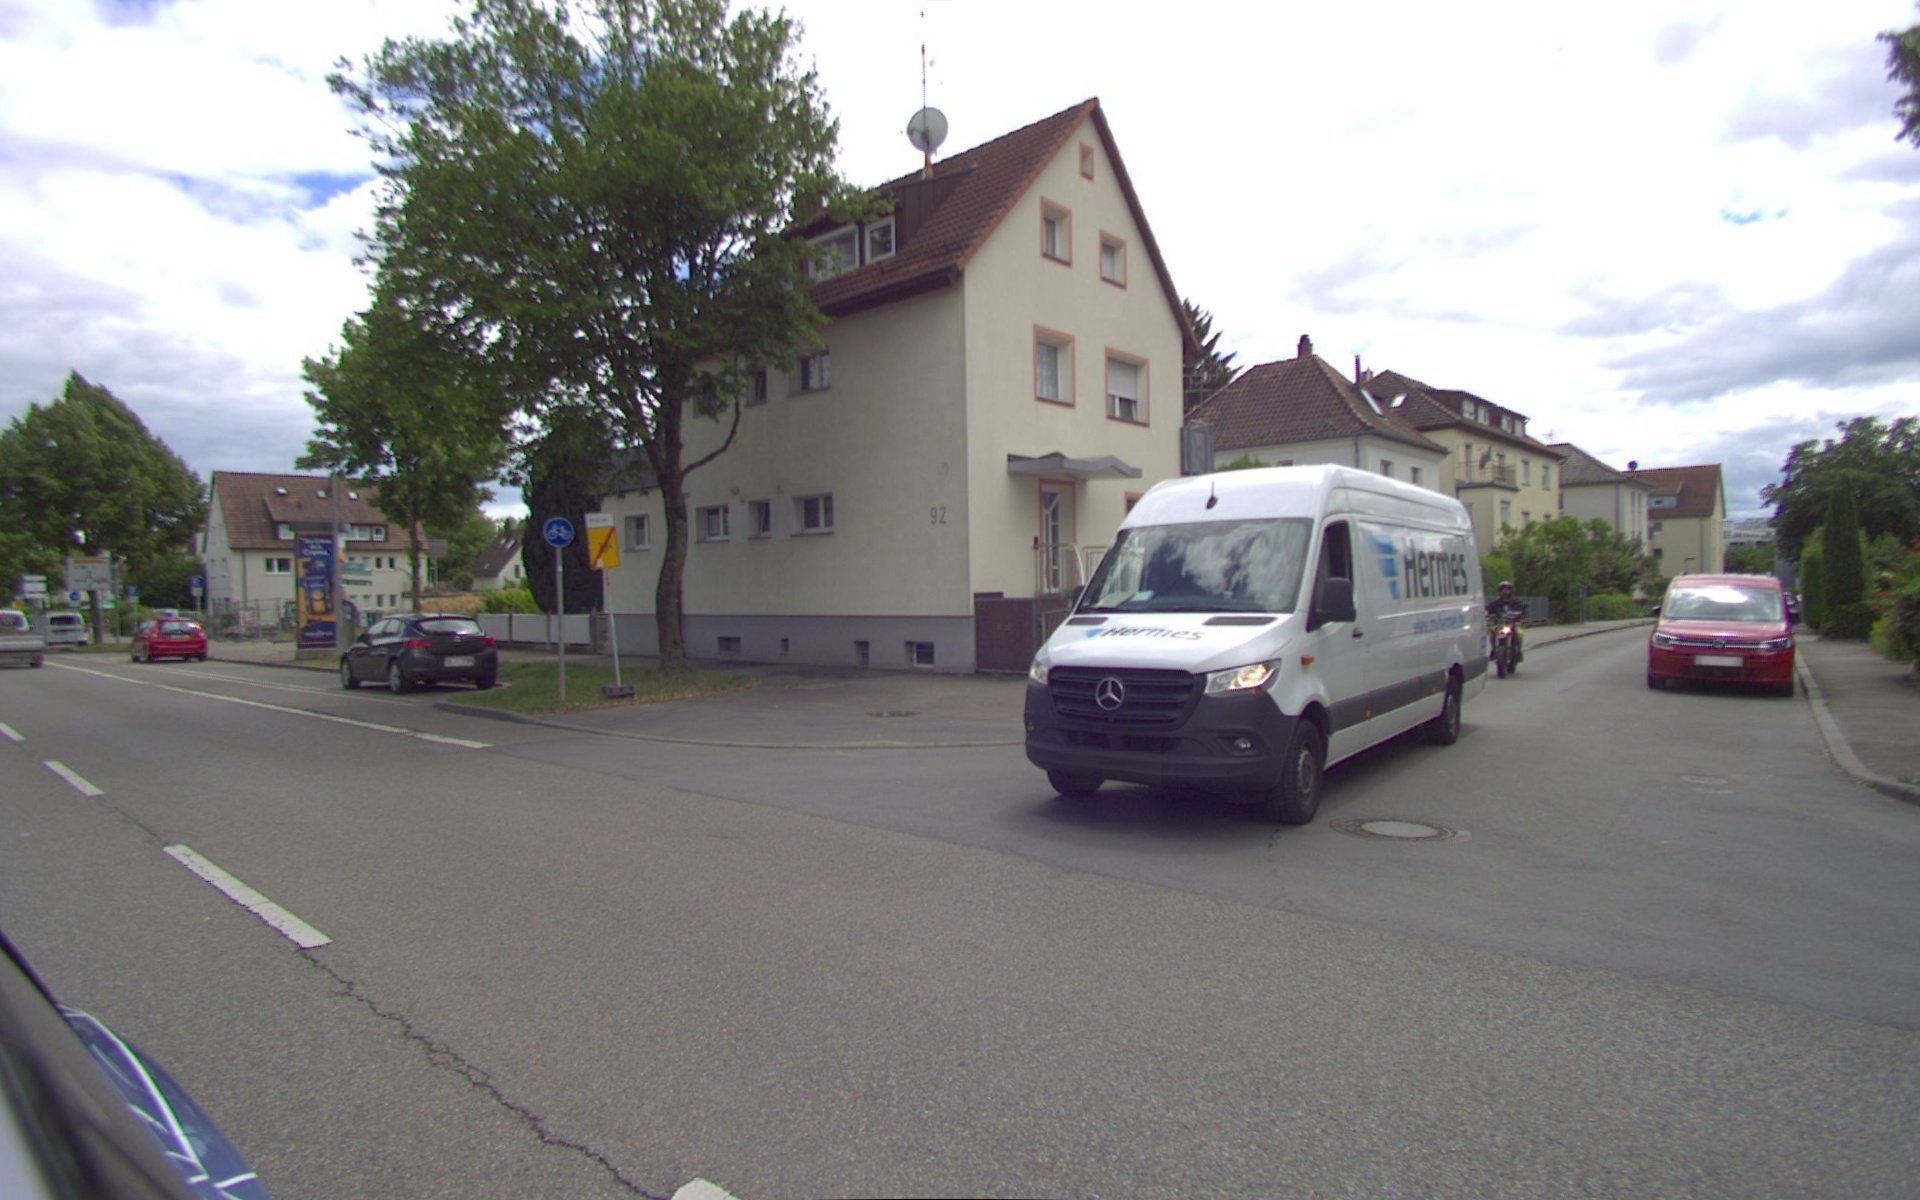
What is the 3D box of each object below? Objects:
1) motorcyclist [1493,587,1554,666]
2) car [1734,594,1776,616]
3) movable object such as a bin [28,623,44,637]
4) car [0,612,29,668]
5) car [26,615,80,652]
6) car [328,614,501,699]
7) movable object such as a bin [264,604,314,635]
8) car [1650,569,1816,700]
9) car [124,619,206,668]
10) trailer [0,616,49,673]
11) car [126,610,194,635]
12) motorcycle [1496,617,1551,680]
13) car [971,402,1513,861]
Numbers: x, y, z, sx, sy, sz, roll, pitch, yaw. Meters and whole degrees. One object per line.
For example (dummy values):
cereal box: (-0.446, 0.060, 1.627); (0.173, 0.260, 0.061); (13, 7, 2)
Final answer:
motorcyclist: (10.186, 0.463, 18.269); (0.753, 1.375, 1.095); (-1, -1, 40)
car: (54.736, 0.335, 69.636); (1.874, 1.488, 3.713); (-2, -1, 44)
movable object such as a bin: (-97.963, 3.133, 107.276); (2.722, 1.427, 0.971); (-2, 0, 42)
car: (-33.999, 1.401, 35.166); (4.817, 1.844, 1.945); (-1, 0, 42)
car: (-47.133, 1.712, 52.558); (4.552, 1.784, 1.751); (-2, 0, 44)
car: (-10.876, 1.052, 20.032); (4.301, 1.480, 1.712); (-2, -1, 43)
movable object such as a bin: (-49.363, 1.428, 74.380); (4.358, 2.204, 1.877); (-1, 0, 40)
car: (12.312, 0.458, 16.172); (1.870, 1.791, 4.306); (1, 0, 38)
car: (-27.642, 1.469, 35.155); (4.132, 1.553, 1.666); (-2, -1, 44)
trailer: (-30.461, 1.384, 32.020); (4.686, 1.689, 1.918); (-1, 0, 42)
car: (-62.523, 1.747, 79.136); (1.855, 1.674, 3.877); (0, 2, 42)
motorcycle: (10.198, 0.848, 18.276); (0.480, 1.039, 2.091); (-1, 0, 39)
car: (3.174, 0.163, 9.308); (2.217, 2.614, 7.220); (-1, 0, 38)
